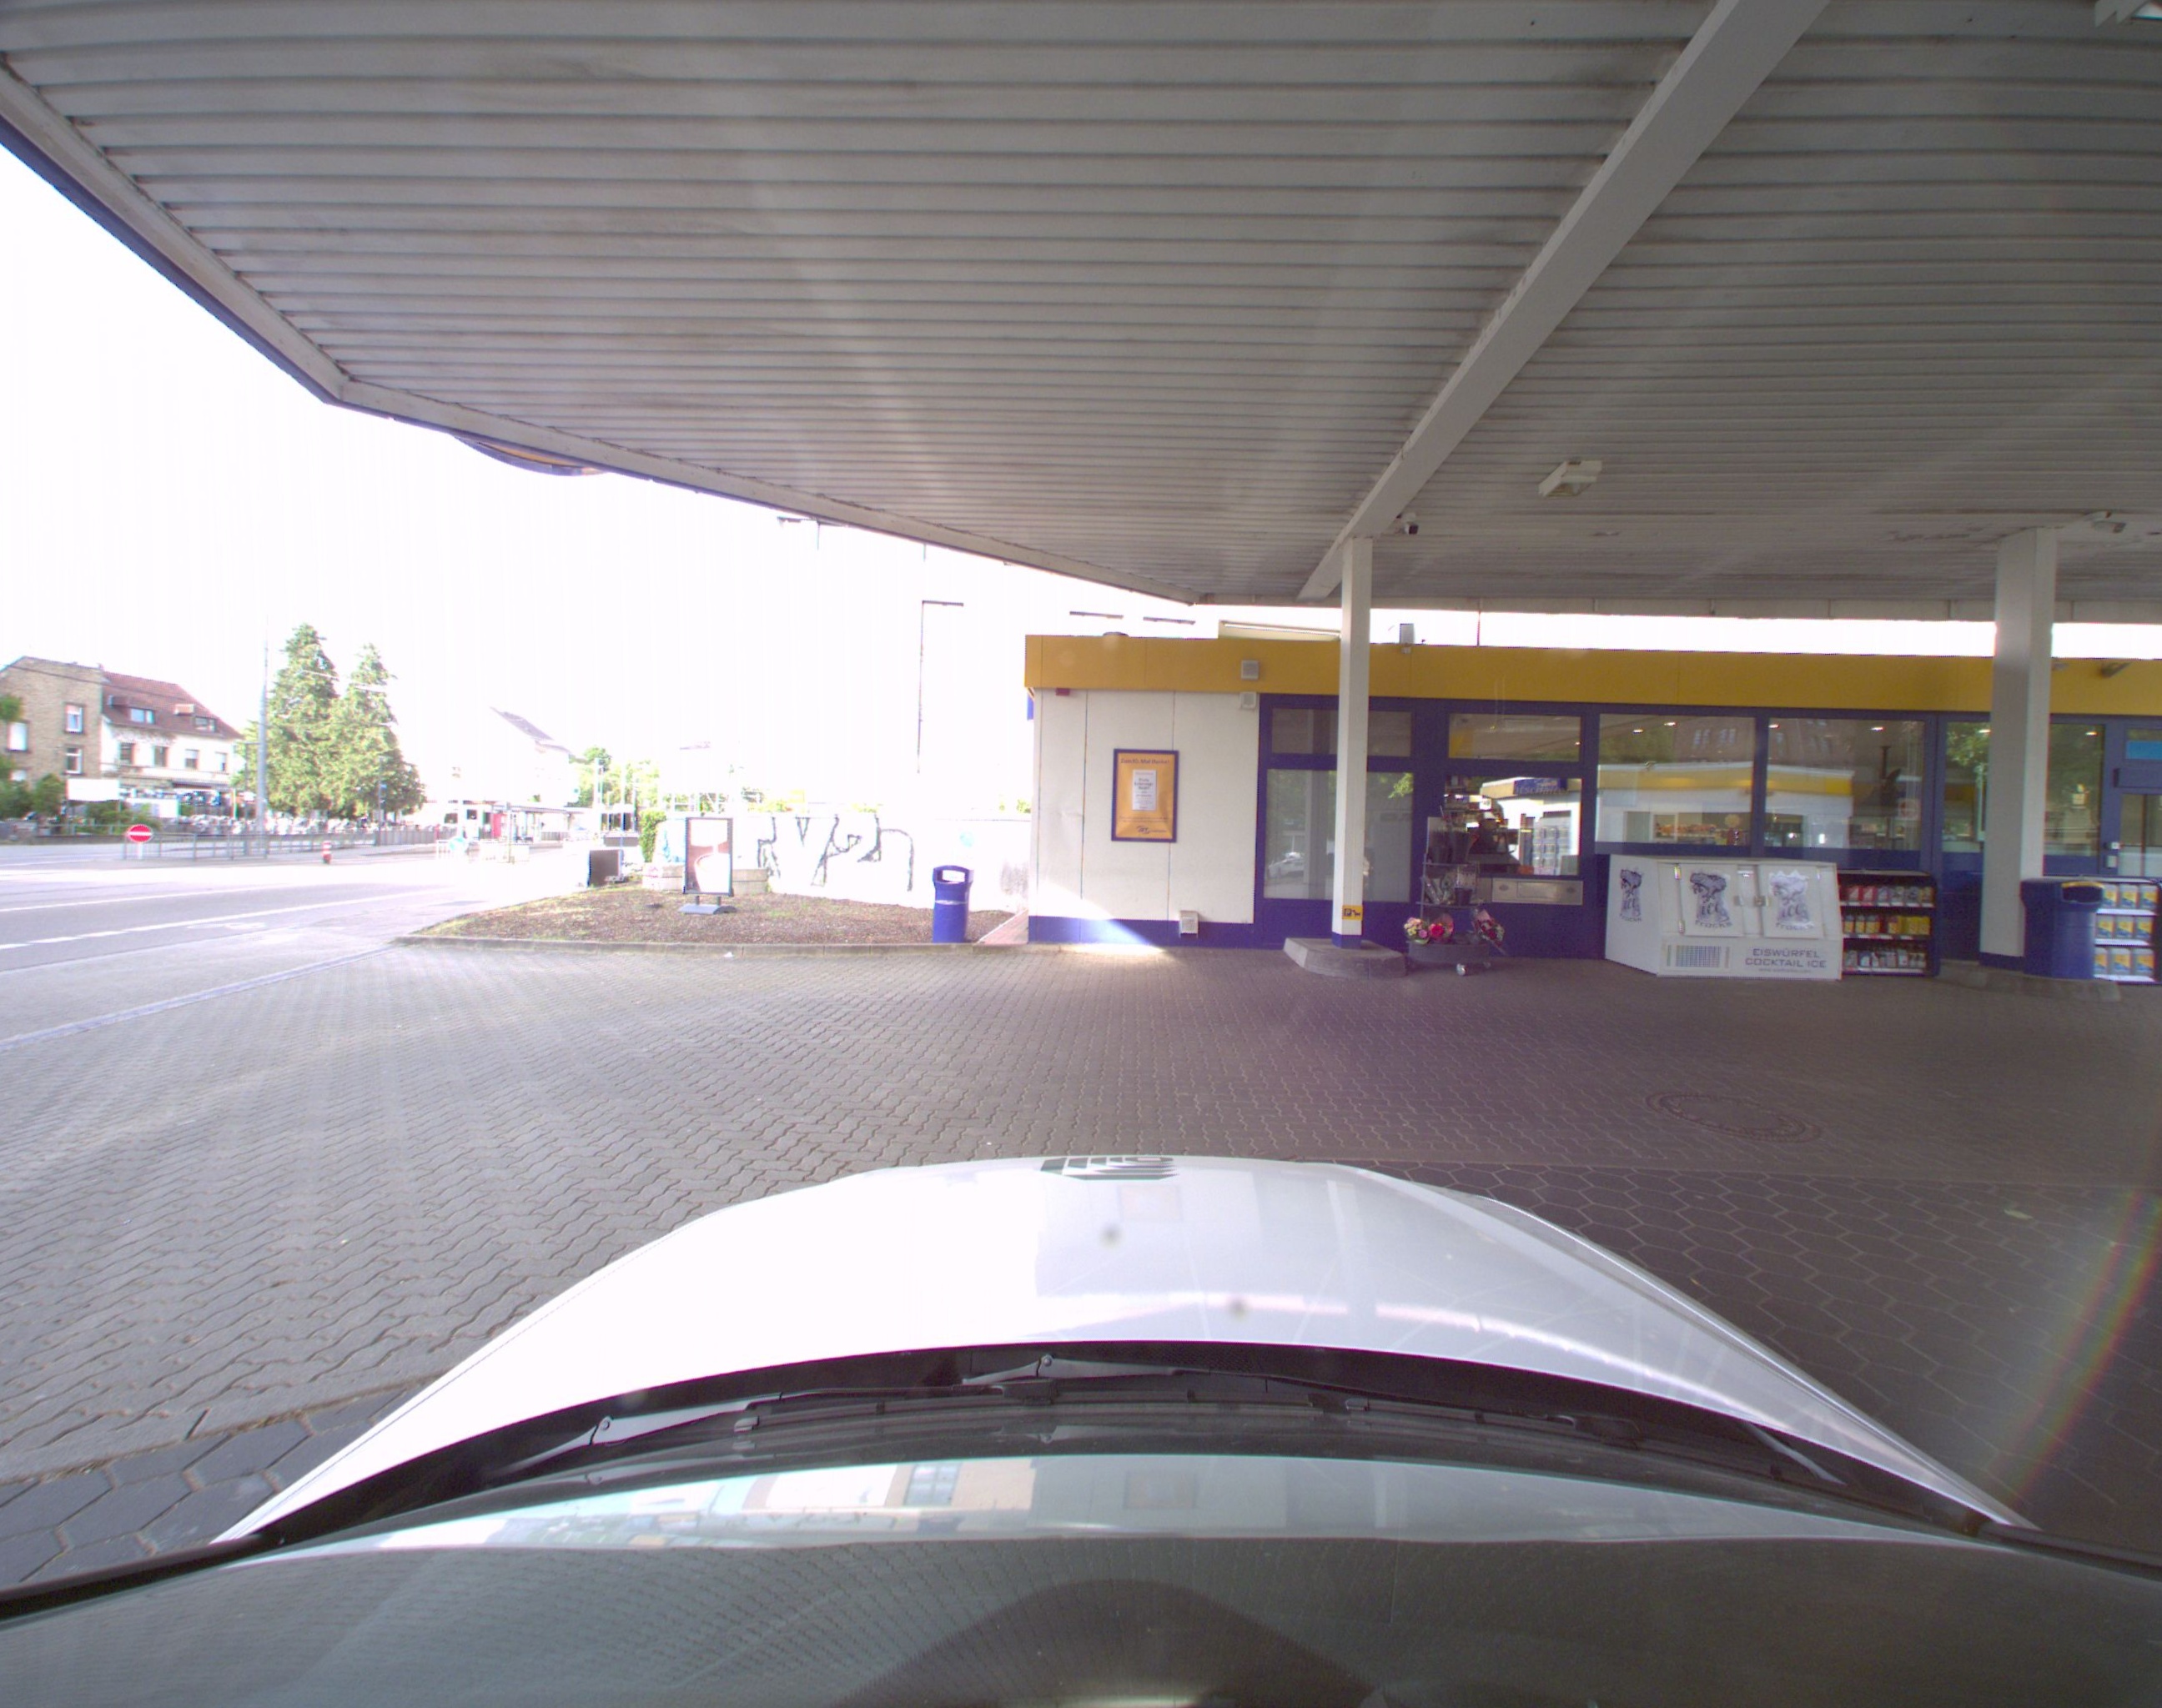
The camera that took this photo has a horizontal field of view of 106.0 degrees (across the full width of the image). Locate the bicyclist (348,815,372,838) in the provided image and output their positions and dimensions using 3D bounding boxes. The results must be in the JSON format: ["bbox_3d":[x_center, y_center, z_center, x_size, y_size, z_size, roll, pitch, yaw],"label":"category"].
[{"bbox_3d":[-47.091,-1.783,53.168,0.751,1.409,0.917,5,0,-15],"label":"bicyclist"}]

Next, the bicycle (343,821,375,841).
[{"bbox_3d":[-47.089,-1.519,53.135,0.751,1.203,1.812,5,0,-15],"label":"bicycle"}]
